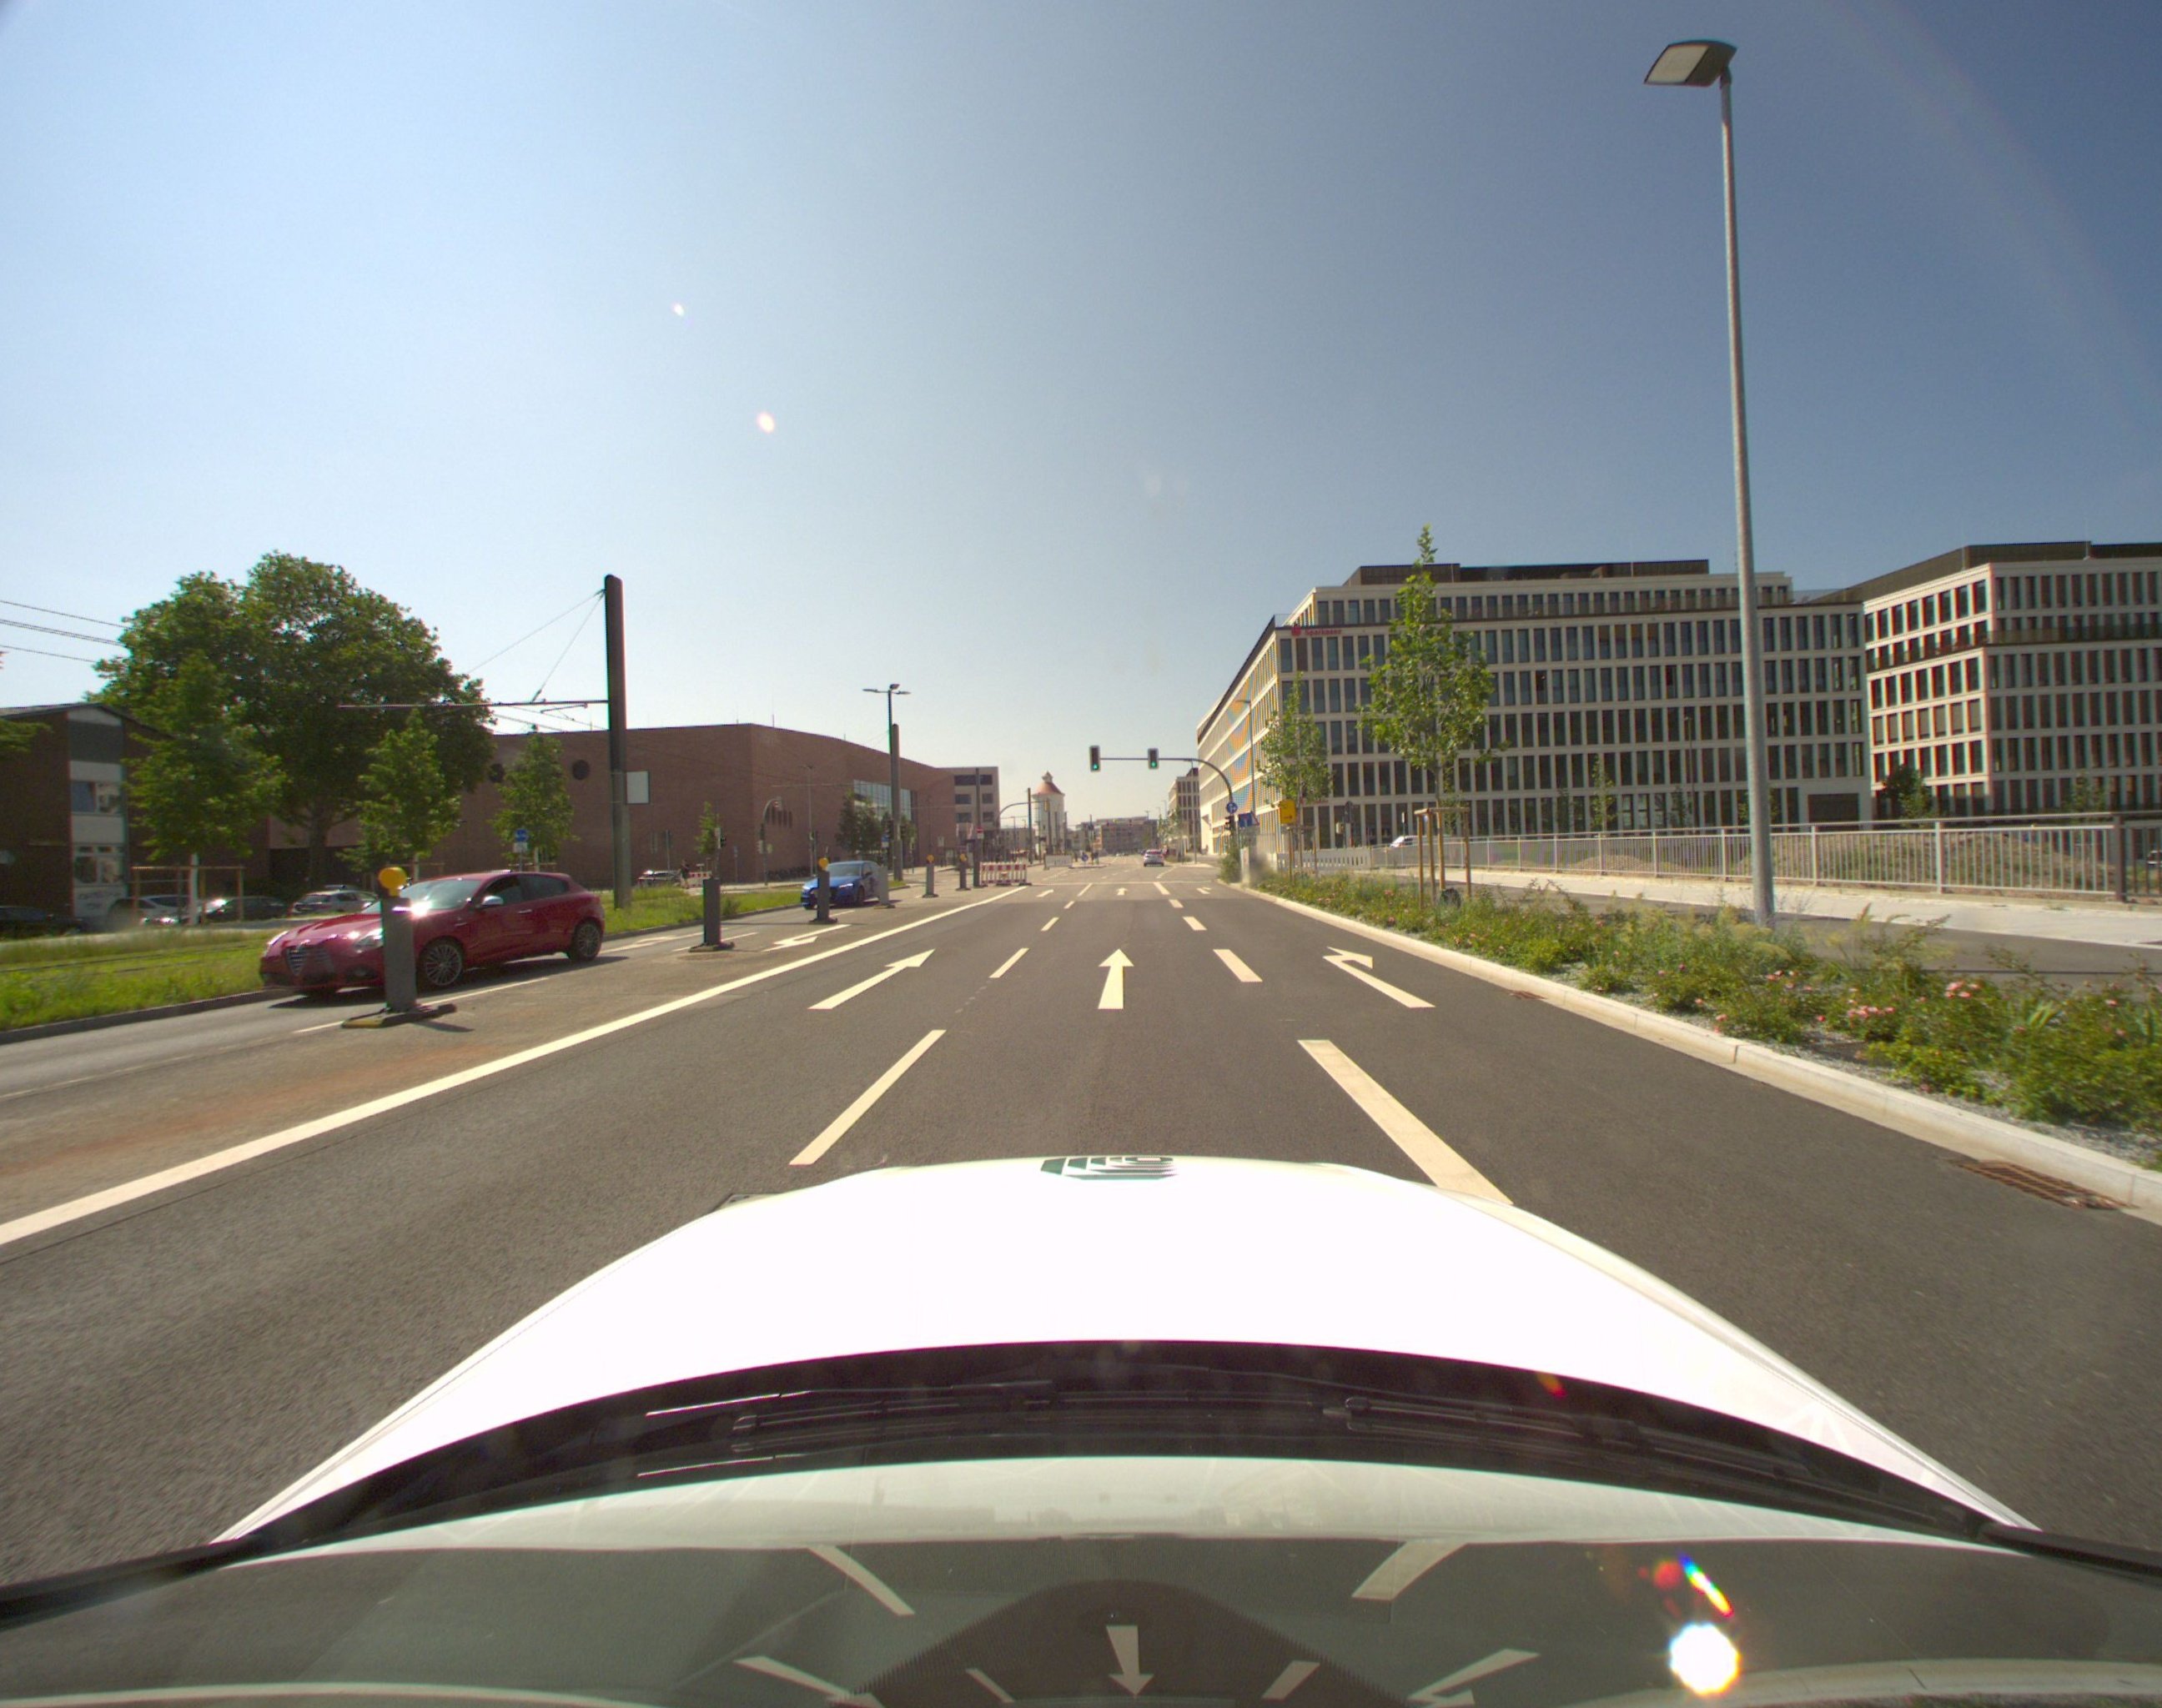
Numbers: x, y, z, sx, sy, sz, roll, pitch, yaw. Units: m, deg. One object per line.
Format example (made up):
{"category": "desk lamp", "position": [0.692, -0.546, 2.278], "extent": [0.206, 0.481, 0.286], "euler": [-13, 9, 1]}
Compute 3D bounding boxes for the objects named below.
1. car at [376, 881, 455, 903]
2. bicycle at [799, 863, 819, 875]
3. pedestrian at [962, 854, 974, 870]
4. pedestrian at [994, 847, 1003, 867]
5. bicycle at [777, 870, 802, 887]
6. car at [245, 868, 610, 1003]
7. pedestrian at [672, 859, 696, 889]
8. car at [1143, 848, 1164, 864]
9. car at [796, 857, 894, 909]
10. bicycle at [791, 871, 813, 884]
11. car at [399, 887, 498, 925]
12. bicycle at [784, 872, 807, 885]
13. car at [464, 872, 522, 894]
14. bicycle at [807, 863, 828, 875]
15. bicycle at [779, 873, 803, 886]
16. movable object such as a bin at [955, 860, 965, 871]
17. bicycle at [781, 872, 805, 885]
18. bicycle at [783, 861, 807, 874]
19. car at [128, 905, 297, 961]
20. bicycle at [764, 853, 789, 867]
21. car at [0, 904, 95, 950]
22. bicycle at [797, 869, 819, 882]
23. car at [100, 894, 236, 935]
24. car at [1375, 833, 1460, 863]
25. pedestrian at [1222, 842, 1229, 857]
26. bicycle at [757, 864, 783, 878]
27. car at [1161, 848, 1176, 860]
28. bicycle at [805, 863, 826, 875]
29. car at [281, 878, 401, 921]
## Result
{"category": "car", "position": [-47.456, 2.683, 58.148], "extent": [3.973, 1.403, 2.000], "euler": [-1, -1, 0]}
{"category": "bicycle", "position": [-29.041, 1.630, 86.961], "extent": [1.880, 1.212, 0.746], "euler": [-2, 0, -4]}
{"category": "pedestrian", "position": [-10.955, 0.797, 79.163], "extent": [0.933, 1.562, 0.788], "euler": [-2, 0, -23]}
{"category": "pedestrian", "position": [-7.805, 0.272, 77.022], "extent": [0.649, 1.833, 0.662], "euler": [-1, 0, 7]}
{"category": "bicycle", "position": [-27.032, 2.288, 75.550], "extent": [2.049, 1.453, 0.538], "euler": [-2, 0, -8]}
{"category": "car", "position": [-8.627, 0.972, 11.285], "extent": [1.573, 1.416, 4.004], "euler": [-3, 0, 4]}
{"category": "pedestrian", "position": [-24.579, 1.226, 50.407], "extent": [0.807, 1.847, 1.109], "euler": [-2, 0, 5]}
{"category": "car", "position": [6.415, 0.186, 71.763], "extent": [1.763, 1.395, 3.536], "euler": [-1, -1, 5]}
{"category": "car", "position": [-7.486, 0.862, 26.285], "extent": [1.621, 1.427, 4.294], "euler": [-3, 0, 3]}
{"category": "bicycle", "position": [-28.544, 2.412, 83.413], "extent": [2.049, 1.212, 0.538], "euler": [-2, 0, -8]}
{"category": "car", "position": [-33.590, 2.738, 43.417], "extent": [1.691, 1.761, 4.305], "euler": [-1, -1, 4]}
{"category": "bicycle", "position": [-28.358, 2.429, 80.969], "extent": [2.049, 1.212, 0.538], "euler": [-2, 0, -8]}
{"category": "car", "position": [-47.868, 2.369, 66.312], "extent": [3.528, 1.689, 1.695], "euler": [-1, 0, 3]}
{"category": "bicycle", "position": [-29.311, 1.689, 90.610], "extent": [2.049, 1.212, 0.538], "euler": [-2, 0, -8]}
{"category": "bicycle", "position": [-27.630, 2.410, 77.598], "extent": [2.049, 1.212, 0.538], "euler": [-2, 0, -8]}
{"category": "movable object such as a bin", "position": [-11.724, 1.068, 78.847], "extent": [0.716, 1.031, 0.788], "euler": [-2, 0, -22]}
{"category": "bicycle", "position": [-27.678, 2.360, 78.337], "extent": [2.049, 1.212, 0.538], "euler": [-2, 0, -8]}
{"category": "bicycle", "position": [-28.081, 1.300, 79.948], "extent": [2.049, 1.212, 0.538], "euler": [-1, 0, -8]}
{"category": "car", "position": [-34.291, 3.066, 32.366], "extent": [1.691, 1.761, 4.535], "euler": [-1, -1, 4]}
{"category": "bicycle", "position": [-27.505, 0.548, 73.557], "extent": [2.050, 1.212, 0.538], "euler": [-2, 0, -10]}
{"category": "car", "position": [-39.665, 2.753, 30.208], "extent": [1.533, 1.457, 3.788], "euler": [-1, 0, 0]}
{"category": "bicycle", "position": [-28.905, 2.285, 86.188], "extent": [2.049, 1.212, 0.538], "euler": [-2, 0, -8]}
{"category": "car", "position": [-39.883, 2.613, 35.720], "extent": [1.532, 1.457, 3.791], "euler": [-1, 0, 3]}
{"category": "car", "position": [26.305, -0.454, 63.754], "extent": [5.812, 2.270, 2.148], "euler": [0, 0, 3]}
{"category": "pedestrian", "position": [16.467, -0.520, 92.938], "extent": [0.625, 1.742, 0.815], "euler": [-2, 0, 3]}
{"category": "bicycle", "position": [-27.061, 1.478, 70.861], "extent": [2.049, 1.212, 0.538], "euler": [0, 0, -8]}
{"category": "car", "position": [11.075, -0.036, 103.019], "extent": [1.727, 1.474, 3.988], "euler": [-2, 0, 7]}
{"category": "bicycle", "position": [-29.392, 1.625, 90.199], "extent": [2.049, 1.212, 0.538], "euler": [-2, 0, -8]}
{"category": "car", "position": [-33.777, 2.017, 37.316], "extent": [1.690, 1.761, 3.943], "euler": [-1, -1, 4]}
